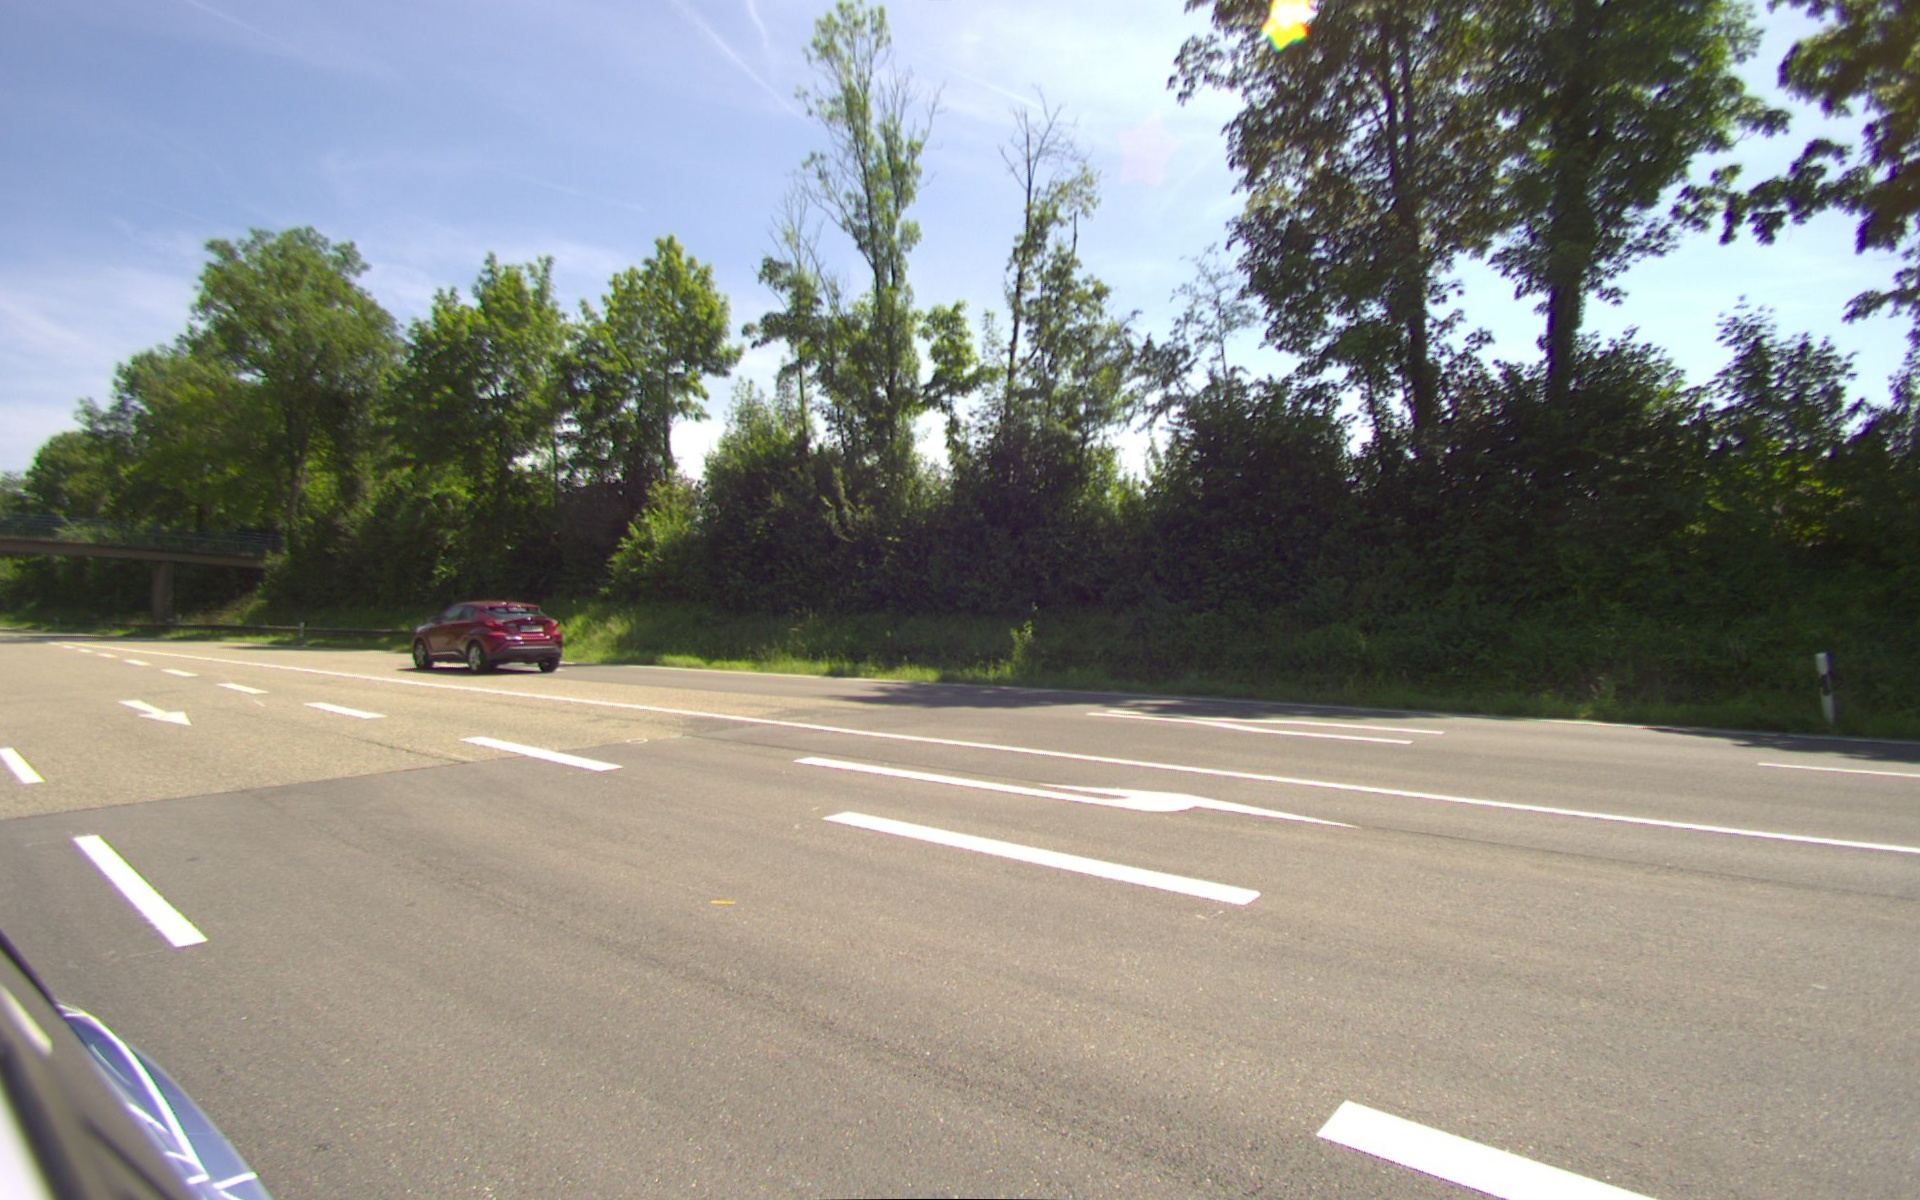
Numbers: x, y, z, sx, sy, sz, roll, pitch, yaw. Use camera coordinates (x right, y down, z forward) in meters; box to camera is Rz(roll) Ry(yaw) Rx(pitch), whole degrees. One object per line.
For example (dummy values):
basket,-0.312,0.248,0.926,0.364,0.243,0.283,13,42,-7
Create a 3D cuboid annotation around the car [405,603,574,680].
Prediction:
car,-10.398,0.851,22.296,3.760,1.520,1.885,0,1,38
